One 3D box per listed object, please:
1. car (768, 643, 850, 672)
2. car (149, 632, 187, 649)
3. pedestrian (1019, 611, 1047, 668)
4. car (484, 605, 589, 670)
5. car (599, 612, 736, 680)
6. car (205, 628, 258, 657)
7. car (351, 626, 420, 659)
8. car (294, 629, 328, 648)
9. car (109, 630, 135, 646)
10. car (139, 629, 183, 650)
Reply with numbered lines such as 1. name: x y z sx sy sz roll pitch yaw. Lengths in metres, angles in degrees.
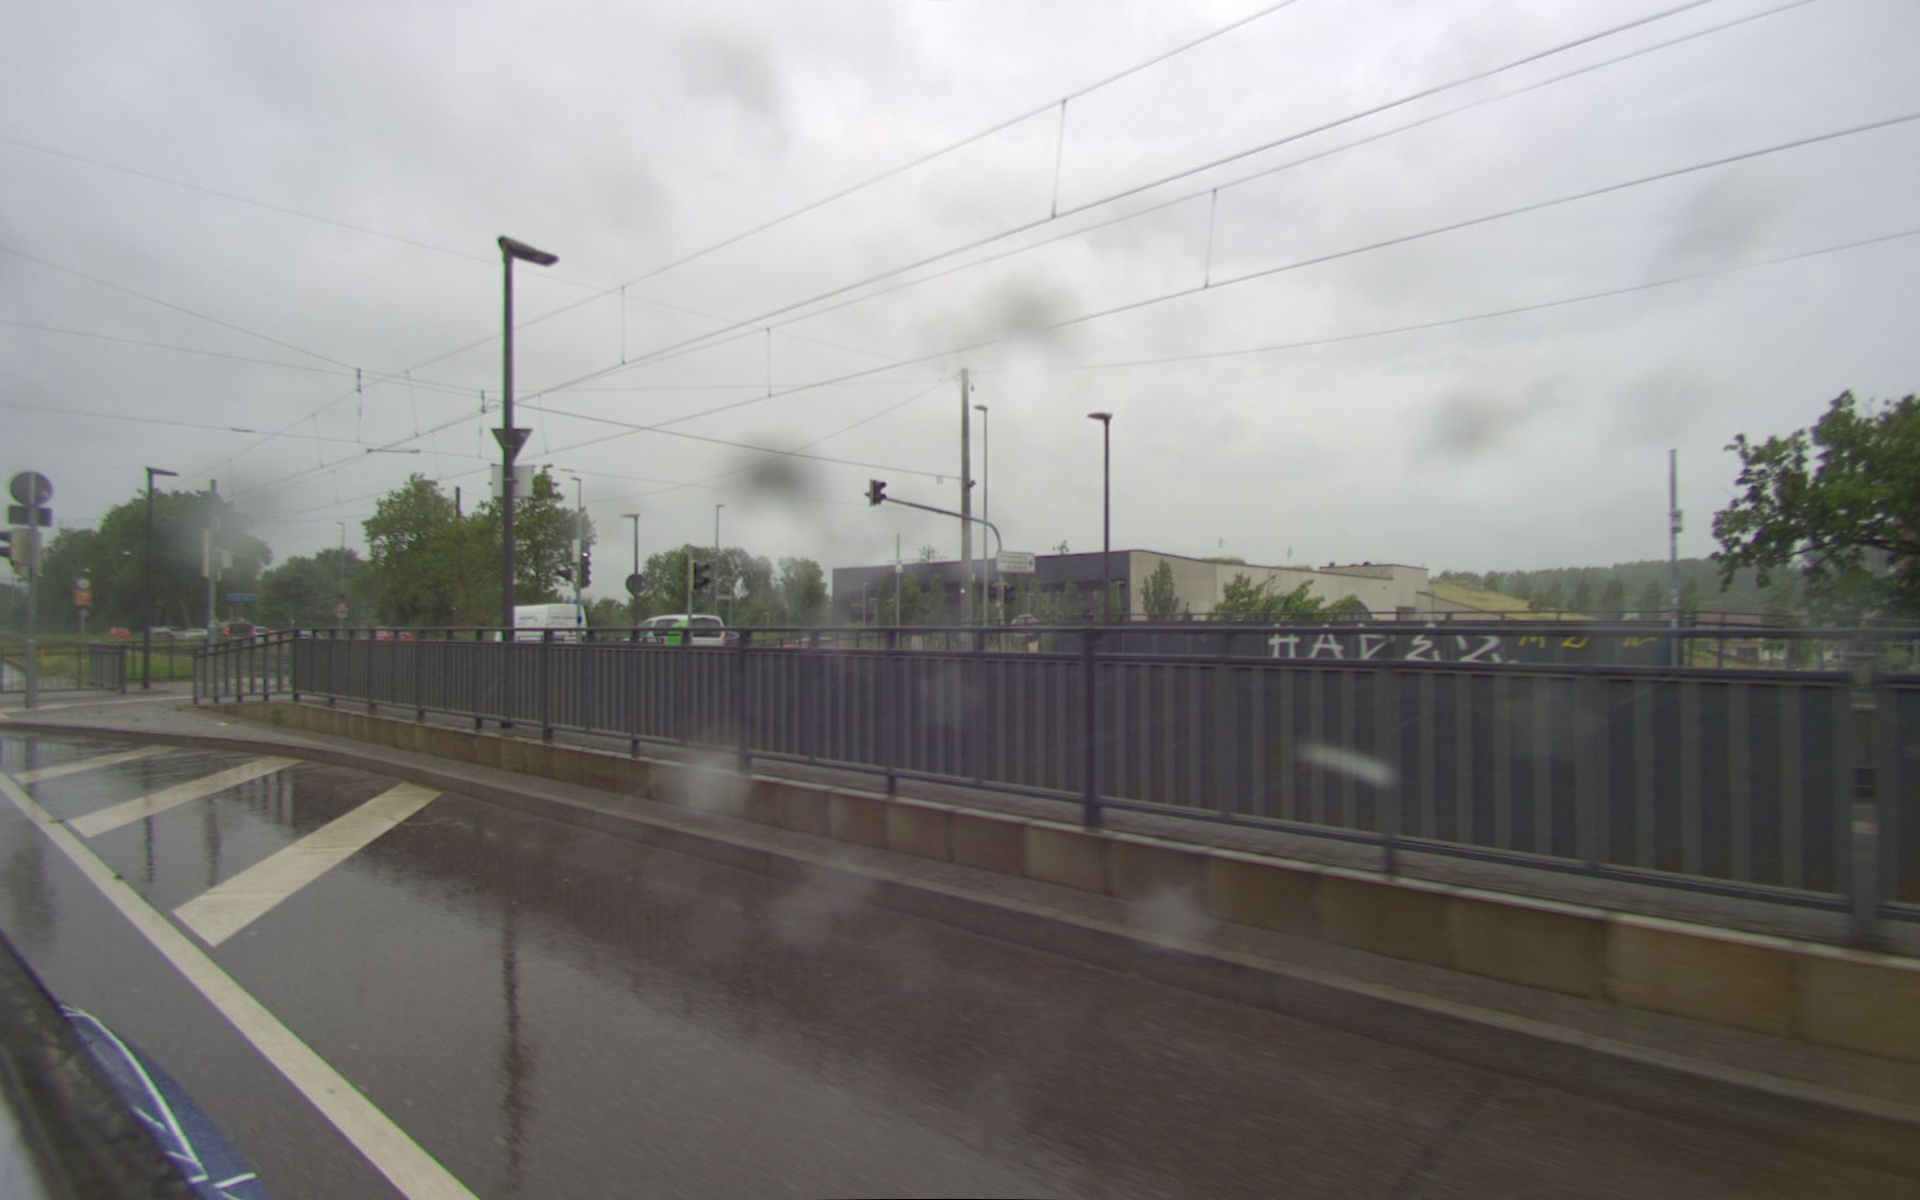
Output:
1. car: -8.679 3.283 58.370 4.308 1.453 2.002 0 -2 -43
2. car: -72.346 3.643 92.391 4.297 1.497 1.973 -2 -1 41
3. pedestrian: 2.630 1.427 36.455 0.696 2.029 0.691 -2 -2 42
4. car: -19.104 1.642 45.480 5.736 2.733 2.097 -2 -1 42
5. car: -9.472 1.438 32.591 4.751 2.029 1.973 -2 -1 41
6. car: -47.536 2.766 66.003 4.256 1.785 1.972 -2 -1 42
7. car: -32.030 2.316 56.355 4.623 1.720 1.972 -2 -1 42
8. car: -61.703 3.634 96.226 1.965 1.694 4.554 0 -1 -23
9. car: -88.622 3.963 107.024 3.618 1.602 1.585 -1 -1 42
10. car: -64.004 3.176 81.034 4.380 1.608 1.972 -2 -6 42
